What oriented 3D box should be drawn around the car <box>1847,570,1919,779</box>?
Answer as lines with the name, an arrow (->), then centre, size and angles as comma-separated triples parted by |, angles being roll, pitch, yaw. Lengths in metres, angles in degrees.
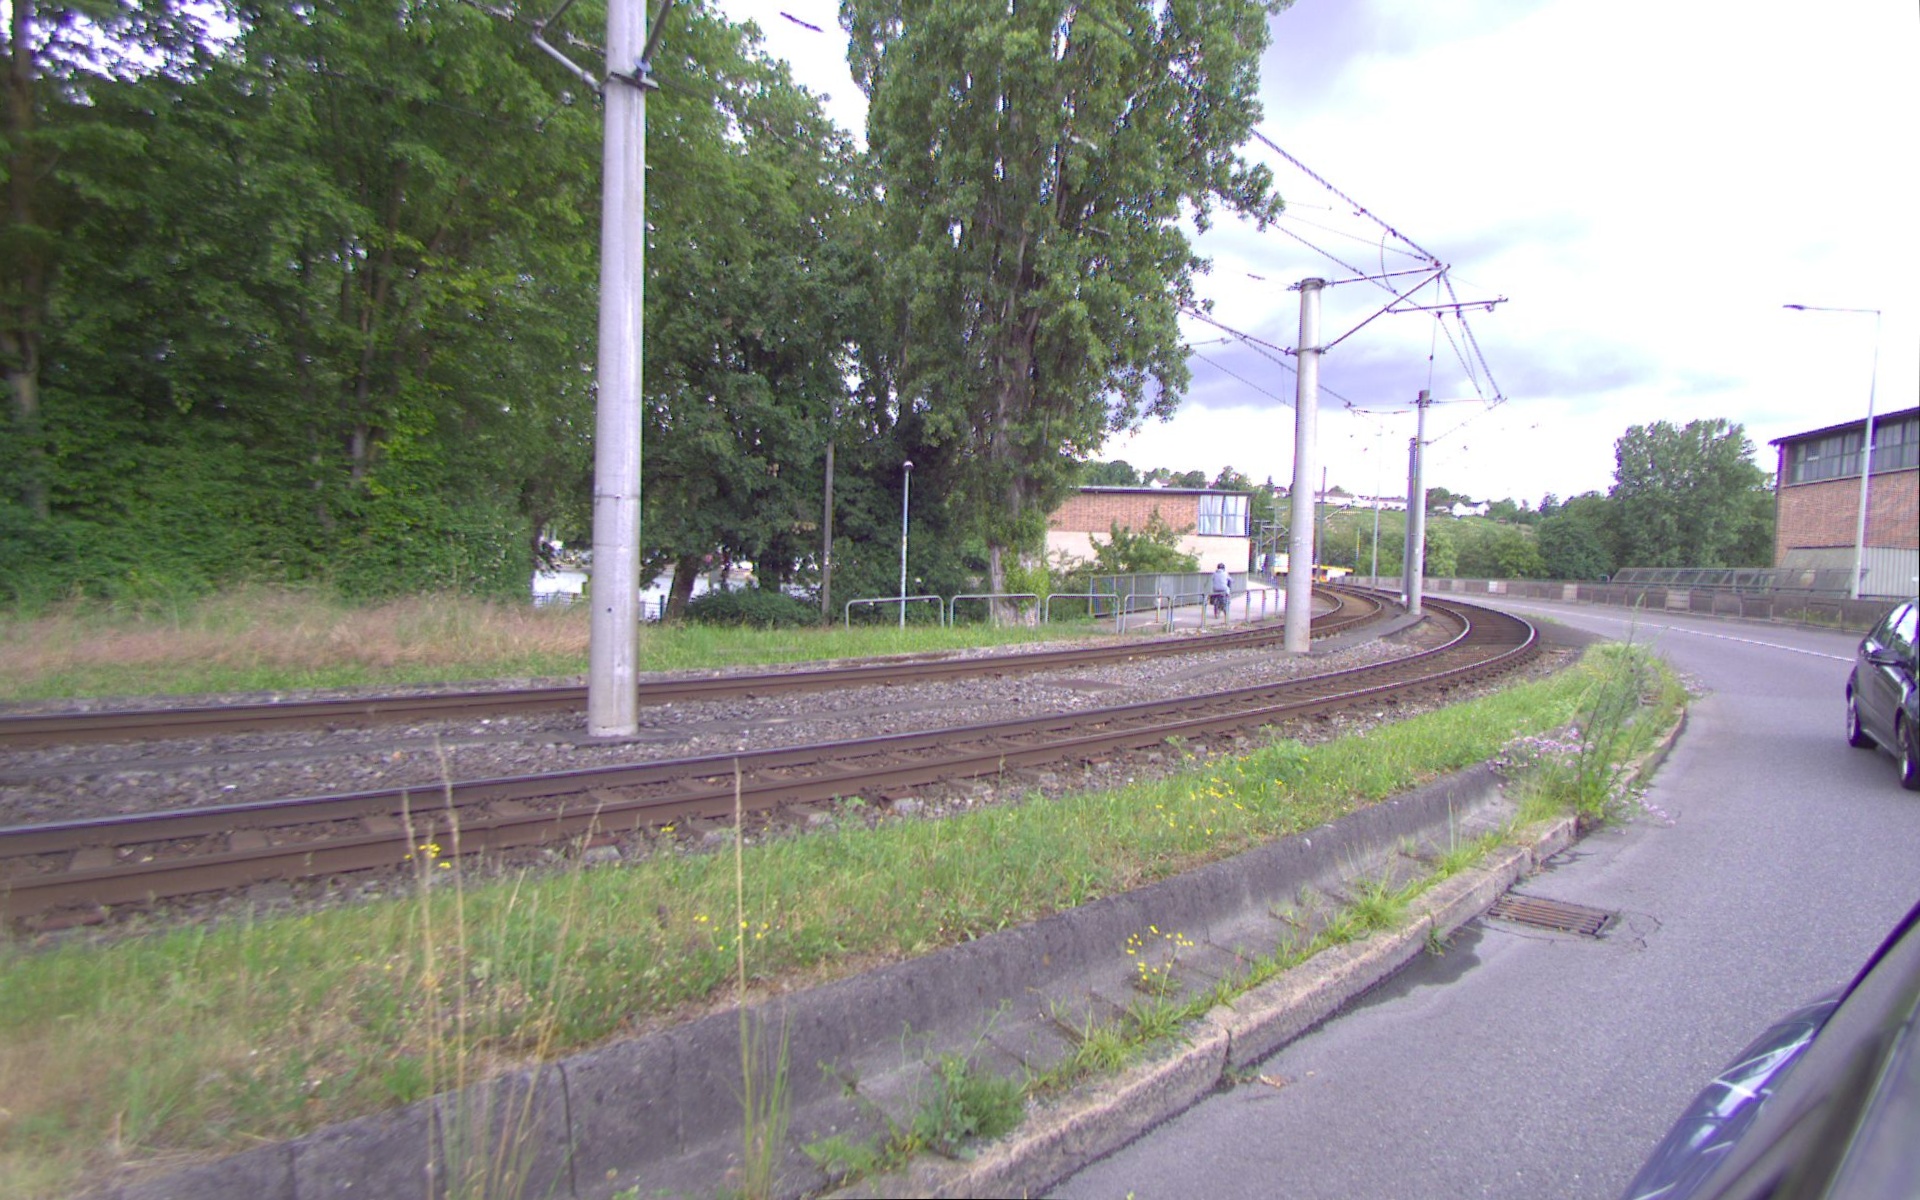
car -> 9.125, 0.594, 8.584 | 1.850, 1.641, 3.952 | 3, 3, 34

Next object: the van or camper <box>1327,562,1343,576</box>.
van or camper -> 66.999, -5.486, 180.747 | 2.137, 2.506, 4.666 | 1, 2, 27

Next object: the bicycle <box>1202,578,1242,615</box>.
bicycle -> 7.747, -0.110, 29.881 | 0.424, 1.063, 2.053 | 1, 1, 36

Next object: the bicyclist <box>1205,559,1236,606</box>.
bicyclist -> 7.684, -0.519, 29.821 | 0.592, 1.377, 0.899 | 1, 1, 36

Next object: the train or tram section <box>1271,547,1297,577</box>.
train or tram section -> 45.589, -5.334, 142.495 | 2.991, 3.966, 9.398 | 2, 3, 16
